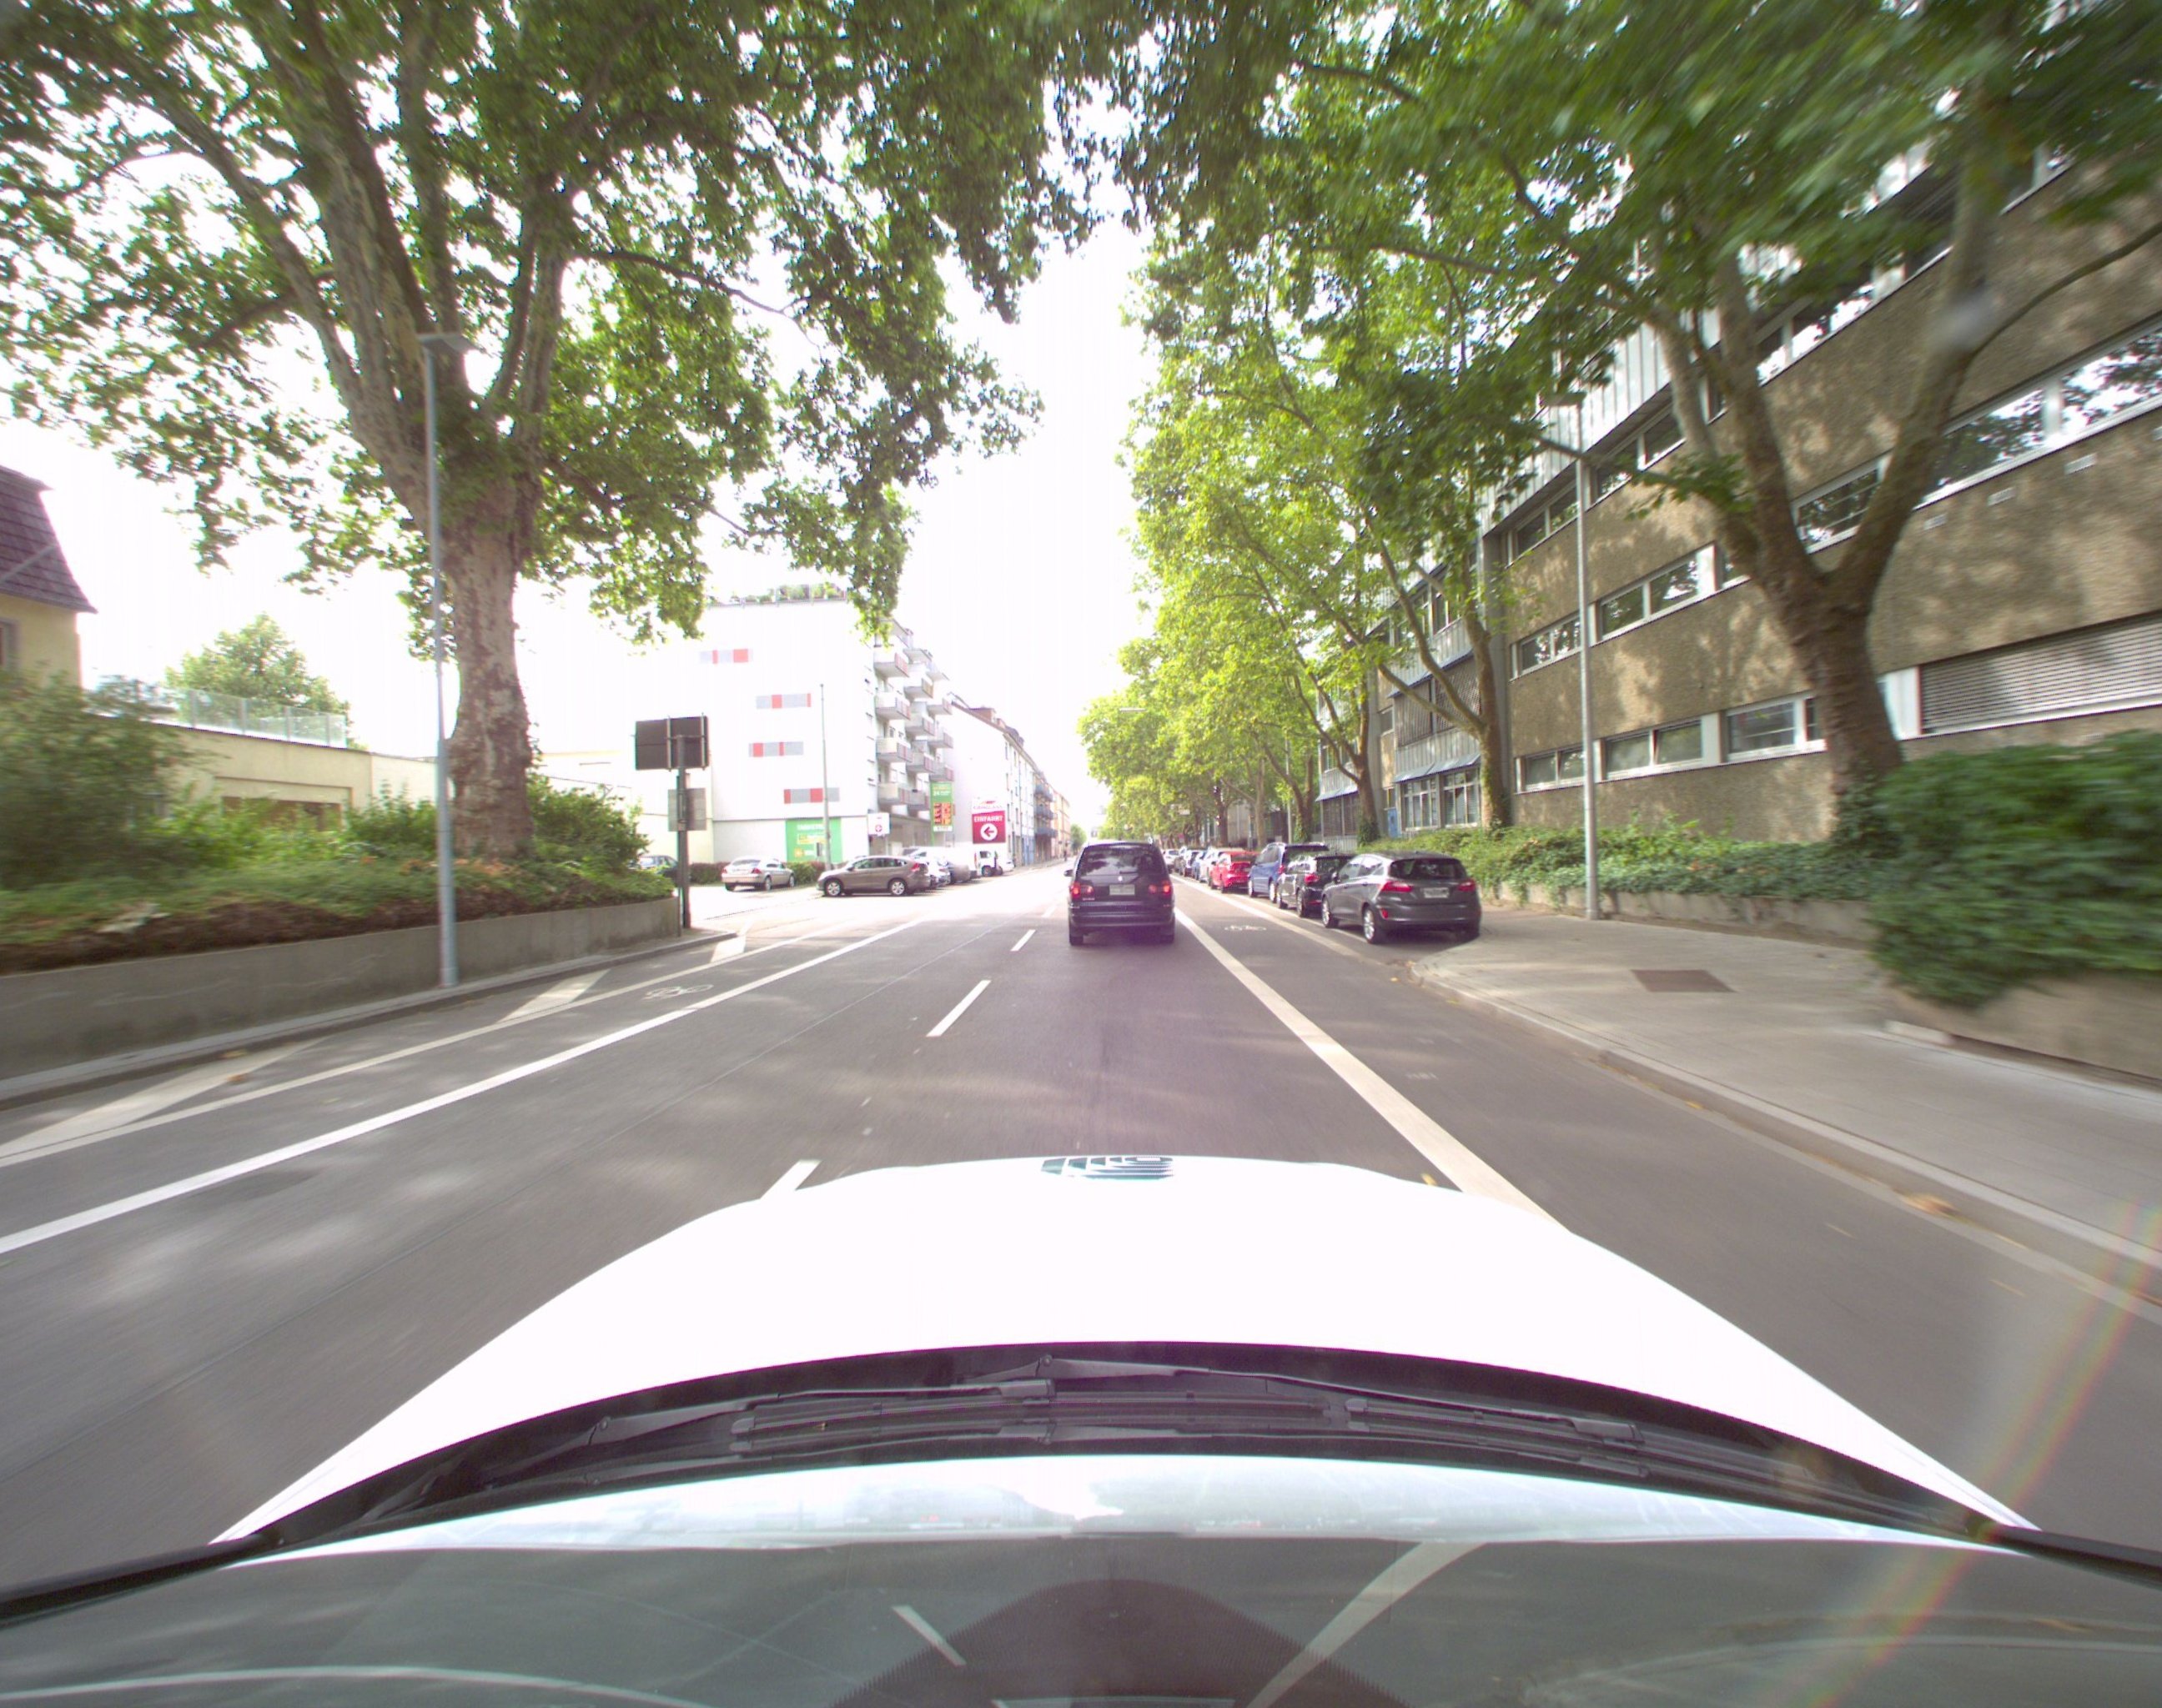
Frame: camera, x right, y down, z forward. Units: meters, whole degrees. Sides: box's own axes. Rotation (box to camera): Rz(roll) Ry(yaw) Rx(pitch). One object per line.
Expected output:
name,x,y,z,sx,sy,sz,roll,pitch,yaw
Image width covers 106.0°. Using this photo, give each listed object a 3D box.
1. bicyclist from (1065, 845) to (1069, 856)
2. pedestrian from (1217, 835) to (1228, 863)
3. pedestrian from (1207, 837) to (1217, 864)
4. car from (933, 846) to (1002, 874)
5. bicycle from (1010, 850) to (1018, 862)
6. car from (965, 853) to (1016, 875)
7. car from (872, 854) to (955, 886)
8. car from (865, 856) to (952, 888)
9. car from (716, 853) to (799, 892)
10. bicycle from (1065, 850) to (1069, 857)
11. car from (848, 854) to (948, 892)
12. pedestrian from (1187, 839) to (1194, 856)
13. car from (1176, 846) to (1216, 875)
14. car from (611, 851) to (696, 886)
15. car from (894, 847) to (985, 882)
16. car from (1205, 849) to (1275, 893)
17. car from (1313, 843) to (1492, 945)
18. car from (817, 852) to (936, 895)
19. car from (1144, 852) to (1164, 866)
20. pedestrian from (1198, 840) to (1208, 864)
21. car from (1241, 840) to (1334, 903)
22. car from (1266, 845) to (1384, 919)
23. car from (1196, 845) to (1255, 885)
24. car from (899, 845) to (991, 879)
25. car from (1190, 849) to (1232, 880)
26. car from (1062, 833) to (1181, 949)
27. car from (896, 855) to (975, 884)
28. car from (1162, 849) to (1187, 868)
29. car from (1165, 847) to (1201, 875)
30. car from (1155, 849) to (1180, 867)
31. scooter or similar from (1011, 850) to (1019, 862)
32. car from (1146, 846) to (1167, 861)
bicyclist,-2.029,-0.537,117.236,0.651,1.611,0.656,-1,-2,-1
pedestrian,9.859,-0.352,56.731,0.640,1.975,0.693,-1,2,3
pedestrian,9.186,-0.245,57.090,0.585,1.838,0.693,-1,2,3
car,-7.484,0.381,53.859,4.293,1.870,1.824,0,0,0
bicycle,-6.191,0.196,75.117,0.629,1.034,2.014,-1,0,-1
car,-6.226,0.658,56.205,3.332,1.497,1.596,0,0,0
car,-8.166,0.772,39.927,3.669,1.485,1.754,0,1,0
car,-8.003,0.824,37.975,3.669,1.426,1.754,0,1,0
car,-14.100,0.773,35.746,1.751,1.518,4.237,-1,1,2
bicycle,-2.008,-0.063,117.056,0.629,1.034,2.014,-1,-2,0
car,-7.990,0.824,35.767,3.923,1.569,1.755,0,1,4
pedestrian,11.937,-0.691,88.828,0.764,1.831,0.516,-2,0,2
car,6.259,0.345,44.712,1.624,1.470,4.318,-2,0,1
car,-18.945,0.610,36.278,1.808,1.332,3.996,-1,2,-3
car,-7.690,0.541,44.544,4.508,1.878,2.048,0,0,2
car,5.556,0.543,29.014,1.670,1.394,4.462,-2,0,1
car,5.381,0.575,14.180,1.651,1.422,3.868,-2,1,2
car,-8.268,0.763,33.206,4.239,1.605,1.970,-1,2,2
car,7.511,0.464,84.294,1.637,1.394,3.510,0,0,-2
pedestrian,8.546,-0.137,57.061,0.585,1.701,0.508,-1,2,3
car,5.968,0.430,24.025,1.652,1.650,4.420,0,1,0
car,5.572,0.569,19.105,1.651,1.422,3.949,-2,1,2
car,6.015,0.427,34.466,1.721,1.516,4.872,-1,0,1
car,-7.830,0.444,47.156,4.898,1.903,2.001,0,0,1
car,6.313,0.469,39.901,1.615,1.386,4.004,1,1,3
car,0.671,0.563,14.525,1.806,1.766,3.739,-1,0,1
car,-7.445,0.780,41.930,3.669,1.444,1.754,0,1,1
car,7.211,0.295,63.098,1.669,1.394,4.464,0,0,2
car,6.246,0.379,50.054,1.663,1.640,4.504,0,0,0
car,7.216,0.292,67.845,1.637,1.413,3.414,0,0,-2
scooter or similar,-6.239,0.184,77.259,0.630,1.034,2.012,-2,0,-4
car,7.289,-0.030,79.141,1.637,1.413,3.414,0,0,-2
